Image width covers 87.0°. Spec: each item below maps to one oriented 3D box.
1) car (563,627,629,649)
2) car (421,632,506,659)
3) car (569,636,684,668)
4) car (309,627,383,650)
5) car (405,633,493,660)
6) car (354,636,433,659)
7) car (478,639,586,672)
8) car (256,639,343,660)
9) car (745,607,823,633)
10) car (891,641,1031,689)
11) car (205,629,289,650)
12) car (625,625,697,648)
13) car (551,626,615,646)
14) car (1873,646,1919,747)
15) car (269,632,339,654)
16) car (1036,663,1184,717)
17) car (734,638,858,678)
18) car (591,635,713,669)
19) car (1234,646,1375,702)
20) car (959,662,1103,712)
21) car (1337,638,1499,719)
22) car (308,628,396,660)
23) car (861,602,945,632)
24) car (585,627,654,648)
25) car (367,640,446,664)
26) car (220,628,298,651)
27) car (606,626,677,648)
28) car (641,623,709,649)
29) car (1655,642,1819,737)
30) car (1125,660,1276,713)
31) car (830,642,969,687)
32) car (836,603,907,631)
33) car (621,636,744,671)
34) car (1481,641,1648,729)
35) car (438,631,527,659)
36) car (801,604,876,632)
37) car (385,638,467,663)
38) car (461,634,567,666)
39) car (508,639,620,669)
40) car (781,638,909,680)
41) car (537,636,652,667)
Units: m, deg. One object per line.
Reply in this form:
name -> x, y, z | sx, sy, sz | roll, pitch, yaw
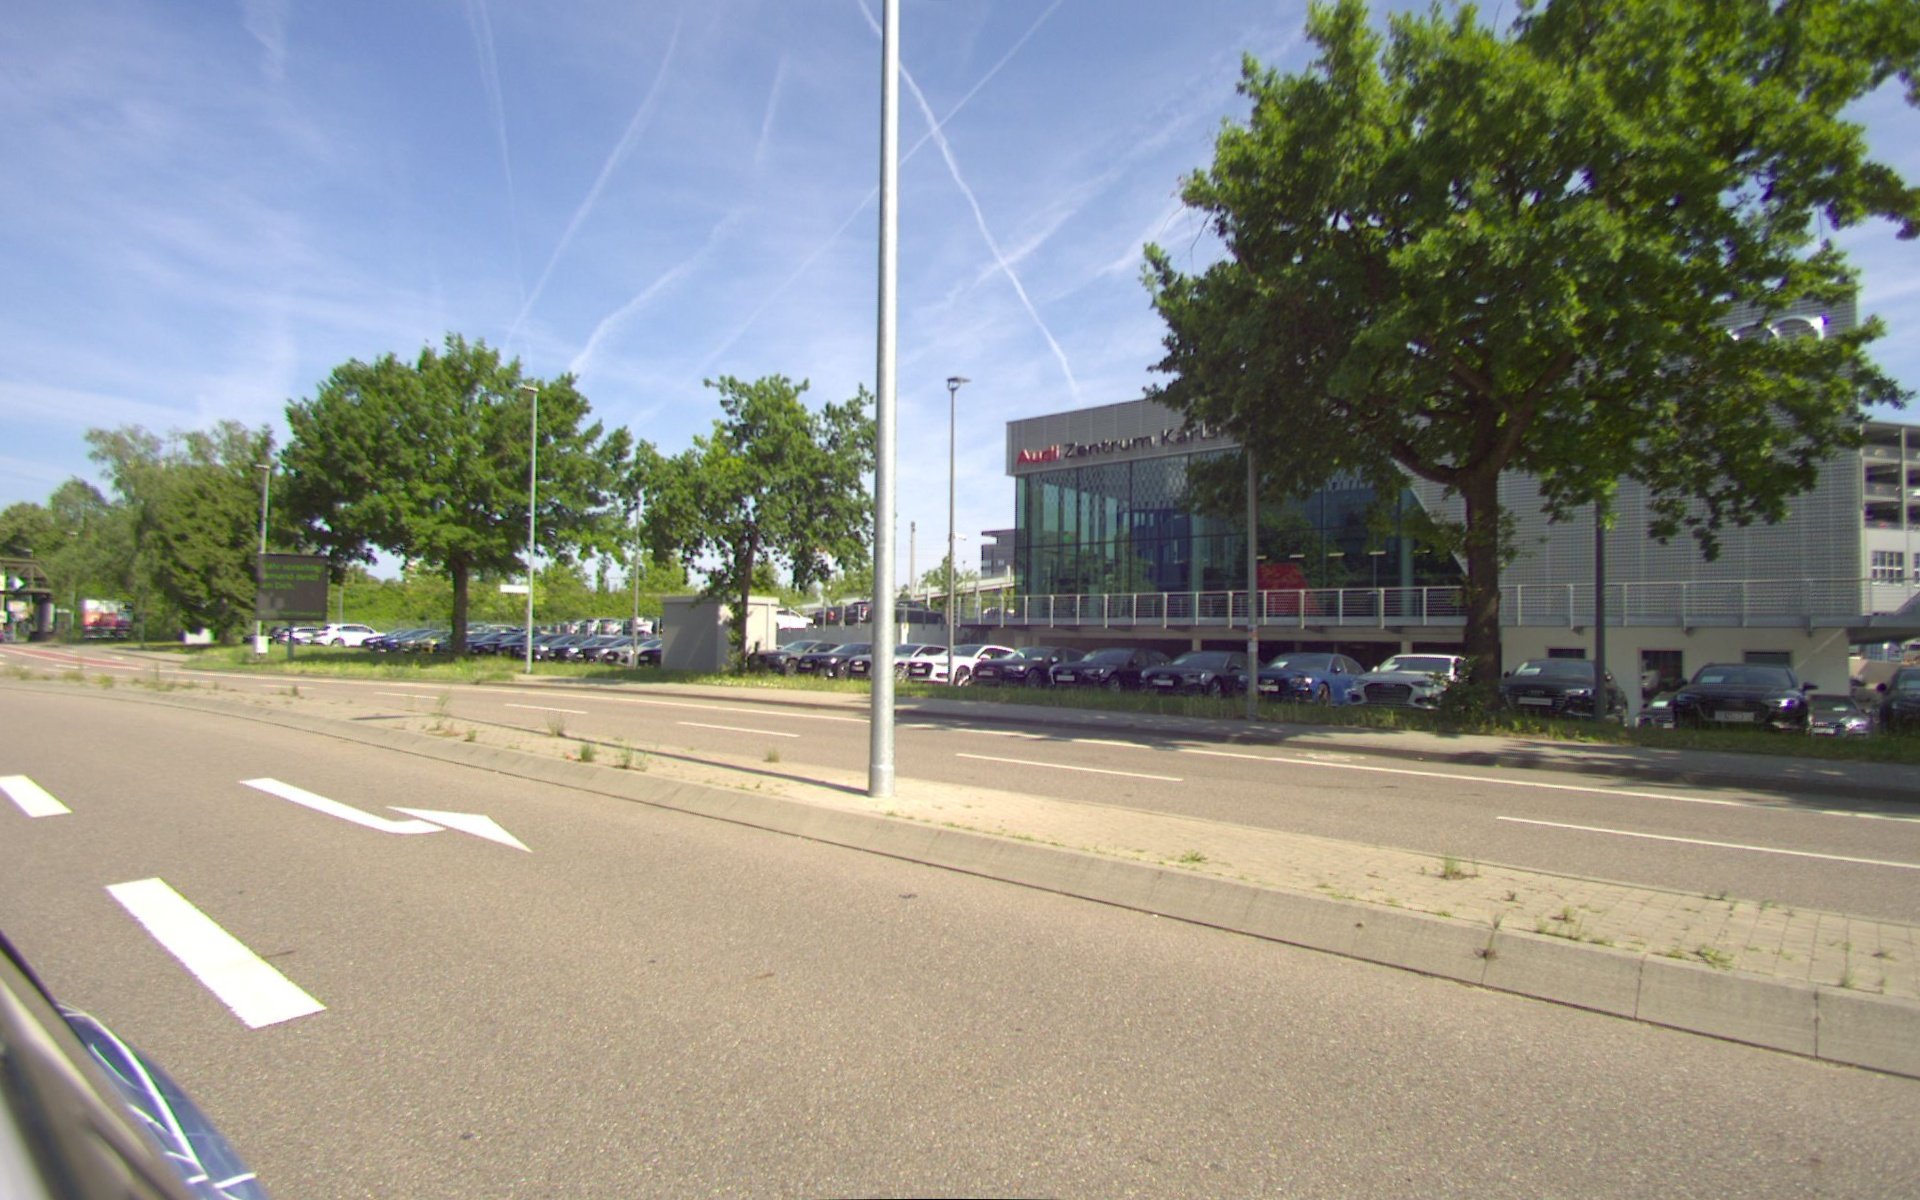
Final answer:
car -> -26.856, 2.789, 74.705 | 1.997, 1.488, 4.162 | -1, -2, 38
car -> -26.374, 2.433, 53.845 | 1.863, 1.295, 3.558 | -1, -5, 39
car -> -14.193, 2.216, 43.249 | 1.690, 1.300, 4.455 | -1, -3, 39
car -> -41.382, 2.565, 68.251 | 1.848, 1.497, 3.941 | -2, -2, 45
car -> -28.011, 2.573, 55.581 | 1.838, 1.351, 3.848 | -1, -5, 39
car -> -33.911, 2.820, 60.653 | 1.743, 1.295, 3.753 | -1, -2, 39
car -> -20.644, 2.677, 48.959 | 1.917, 1.487, 4.455 | -1, -3, 39
car -> -46.398, 3.457, 71.147 | 1.999, 1.278, 4.801 | -2, -2, 41
car -> -10.618, 1.238, 61.221 | 1.978, 1.496, 4.455 | -1, -3, 39
car -> 0.103, 1.938, 29.921 | 1.953, 1.199, 4.132 | -2, -6, 39
car -> -51.465, 2.845, 73.094 | 1.999, 1.400, 4.638 | -2, -2, 41
car -> -20.672, 2.550, 70.097 | 1.978, 1.496, 4.455 | -1, -3, 39
car -> -28.577, 2.718, 76.765 | 1.997, 1.488, 4.162 | -1, -2, 38
car -> 15.732, 1.594, 15.810 | 2.050, 1.453, 4.260 | -1, -7, 41
car -> -44.485, 2.914, 68.704 | 1.815, 1.381, 3.642 | -2, -2, 41
car -> 3.950, 2.352, 26.125 | 1.953, 1.199, 4.132 | -2, -6, 39
car -> -5.595, 2.020, 34.916 | 1.895, 1.165, 3.947 | -2, -6, 39
car -> -12.616, 2.133, 41.714 | 2.002, 1.300, 4.455 | -1, -3, 39
car -> 7.754, 1.683, 22.562 | 1.695, 1.042, 4.067 | -1, -6, 39
car -> 2.041, 2.439, 28.017 | 1.953, 1.199, 4.132 | -2, -6, 39
car -> 9.547, 1.654, 20.942 | 1.999, 1.453, 3.945 | -2, -7, 42
car -> -38.353, 2.762, 63.905 | 2.000, 1.889, 4.415 | -2, -2, 42
car -> -3.003, 0.906, 53.989 | 1.985, 1.507, 4.473 | -2, -2, 41
car -> -24.576, 2.692, 73.175 | 1.889, 1.429, 4.455 | -1, -2, 39
car -> -32.045, 3.030, 58.671 | 1.743, 1.295, 3.558 | -1, -5, 39
car -> -49.256, 2.759, 71.165 | 1.999, 1.558, 4.170 | -2, -2, 41
car -> -22.499, 2.630, 71.554 | 1.978, 1.496, 4.455 | -1, -3, 39
car -> -19.175, 2.456, 68.295 | 1.663, 1.718, 4.226 | -1, -3, 39
car -> 13.754, 1.608, 17.826 | 1.999, 1.453, 4.095 | -2, -7, 42
car -> 5.872, 2.110, 24.425 | 1.953, 1.086, 4.132 | -2, -6, 39
car -> -1.831, 2.034, 31.686 | 2.085, 1.165, 4.132 | -2, -6, 39
car -> -4.874, 0.964, 56.152 | 1.667, 1.507, 3.946 | -2, -2, 41
car -> -10.978, 2.101, 40.257 | 1.917, 1.300, 4.455 | -1, -3, 39
car -> 11.658, 1.666, 19.400 | 1.999, 1.453, 4.203 | -2, -7, 42
car -> -24.501, 2.309, 52.013 | 1.983, 1.295, 3.643 | -1, -5, 39
car -> -6.913, 1.020, 57.817 | 2.050, 1.507, 3.946 | -2, -2, 41
car -> -30.085, 2.877, 57.062 | 1.661, 1.295, 3.705 | -1, -5, 39
car -> -22.155, 2.471, 50.408 | 1.978, 1.487, 4.455 | -1, -3, 39
car -> -18.276, 2.506, 46.861 | 1.917, 1.300, 4.455 | -1, -3, 39
car -> -3.713, 1.945, 33.188 | 1.895, 1.165, 3.947 | -2, -6, 39
car -> -16.225, 2.290, 45.075 | 1.917, 1.300, 4.455 | -1, -3, 39
